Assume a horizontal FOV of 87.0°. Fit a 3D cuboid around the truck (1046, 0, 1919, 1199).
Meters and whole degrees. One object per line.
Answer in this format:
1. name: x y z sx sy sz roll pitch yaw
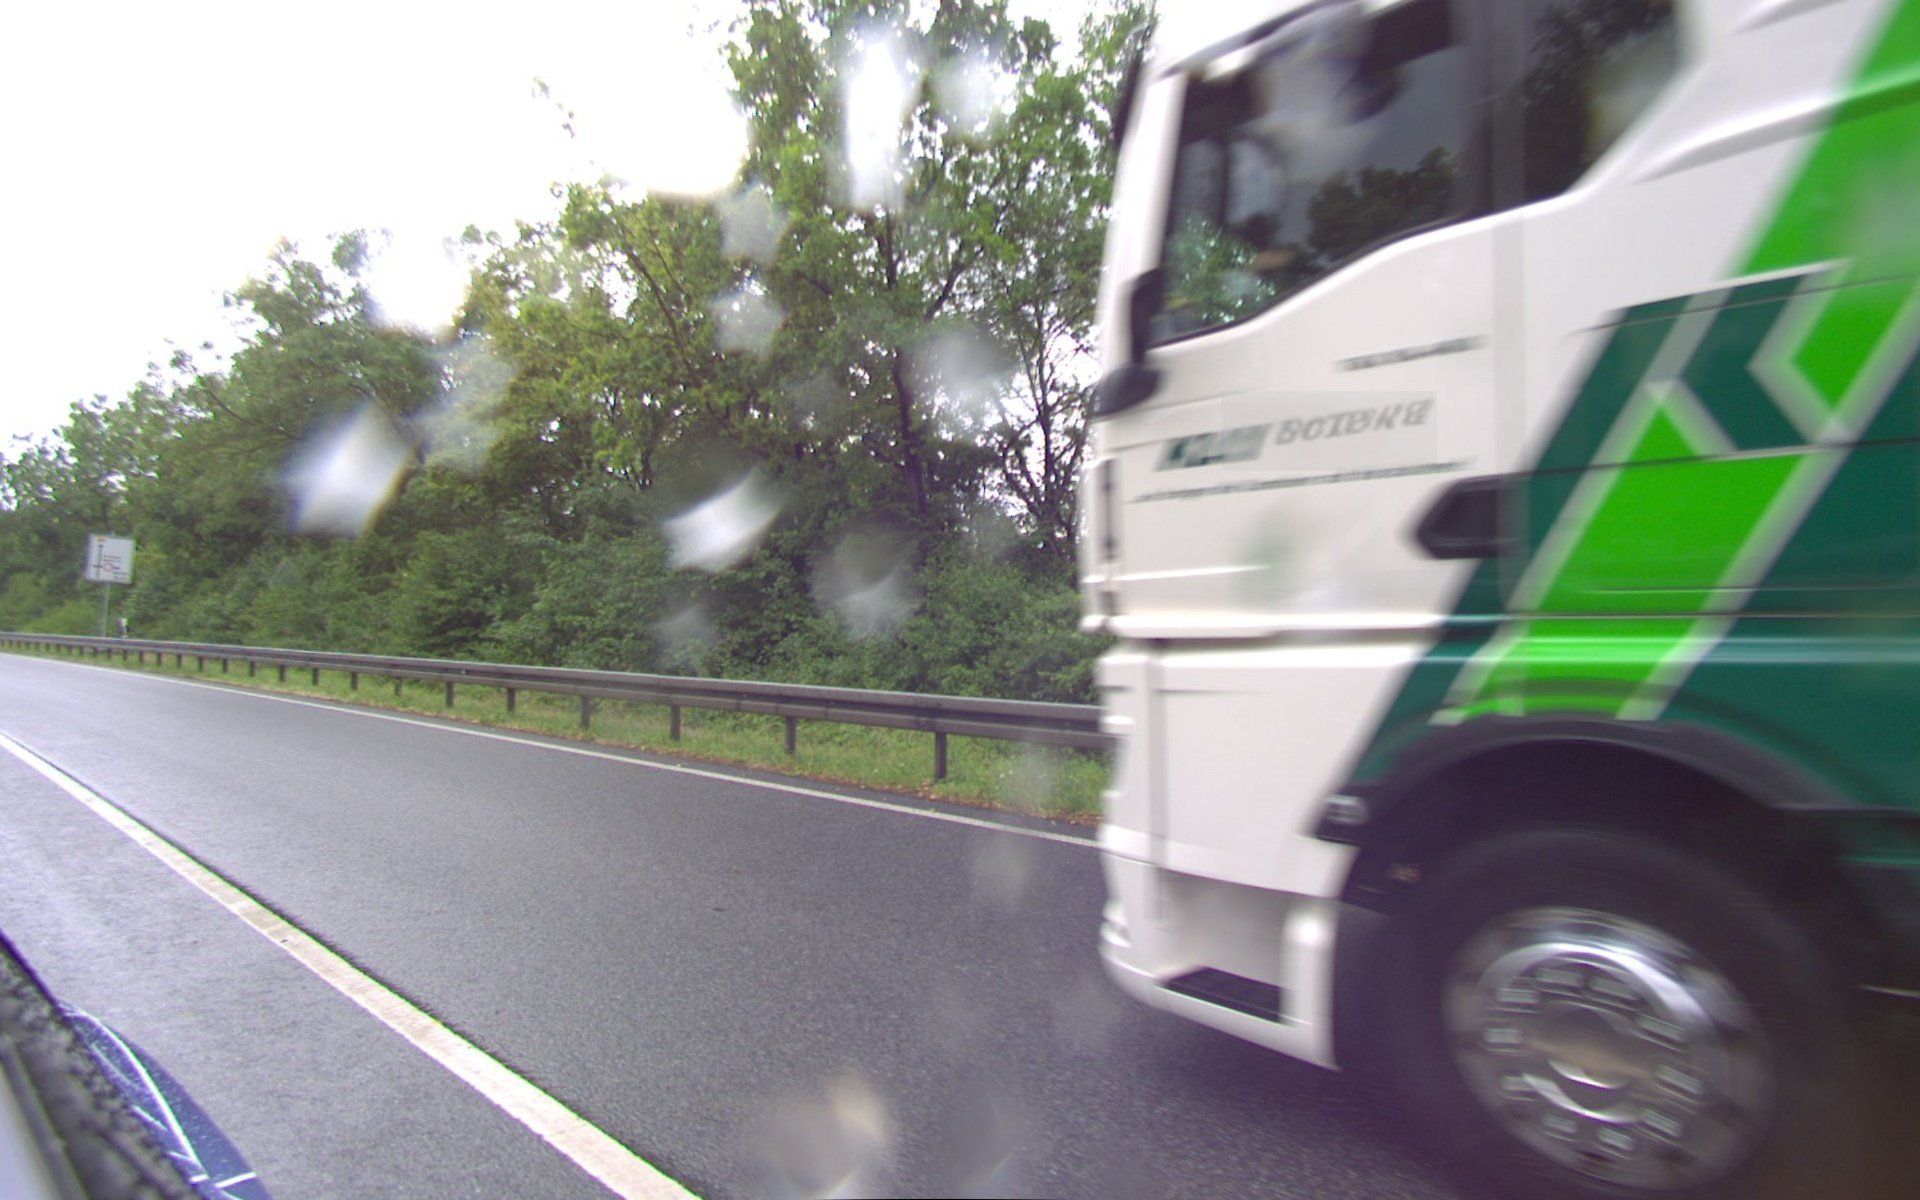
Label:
1. truck: 3.043 -0.658 2.166 5.242 3.854 2.510 0 0 41
